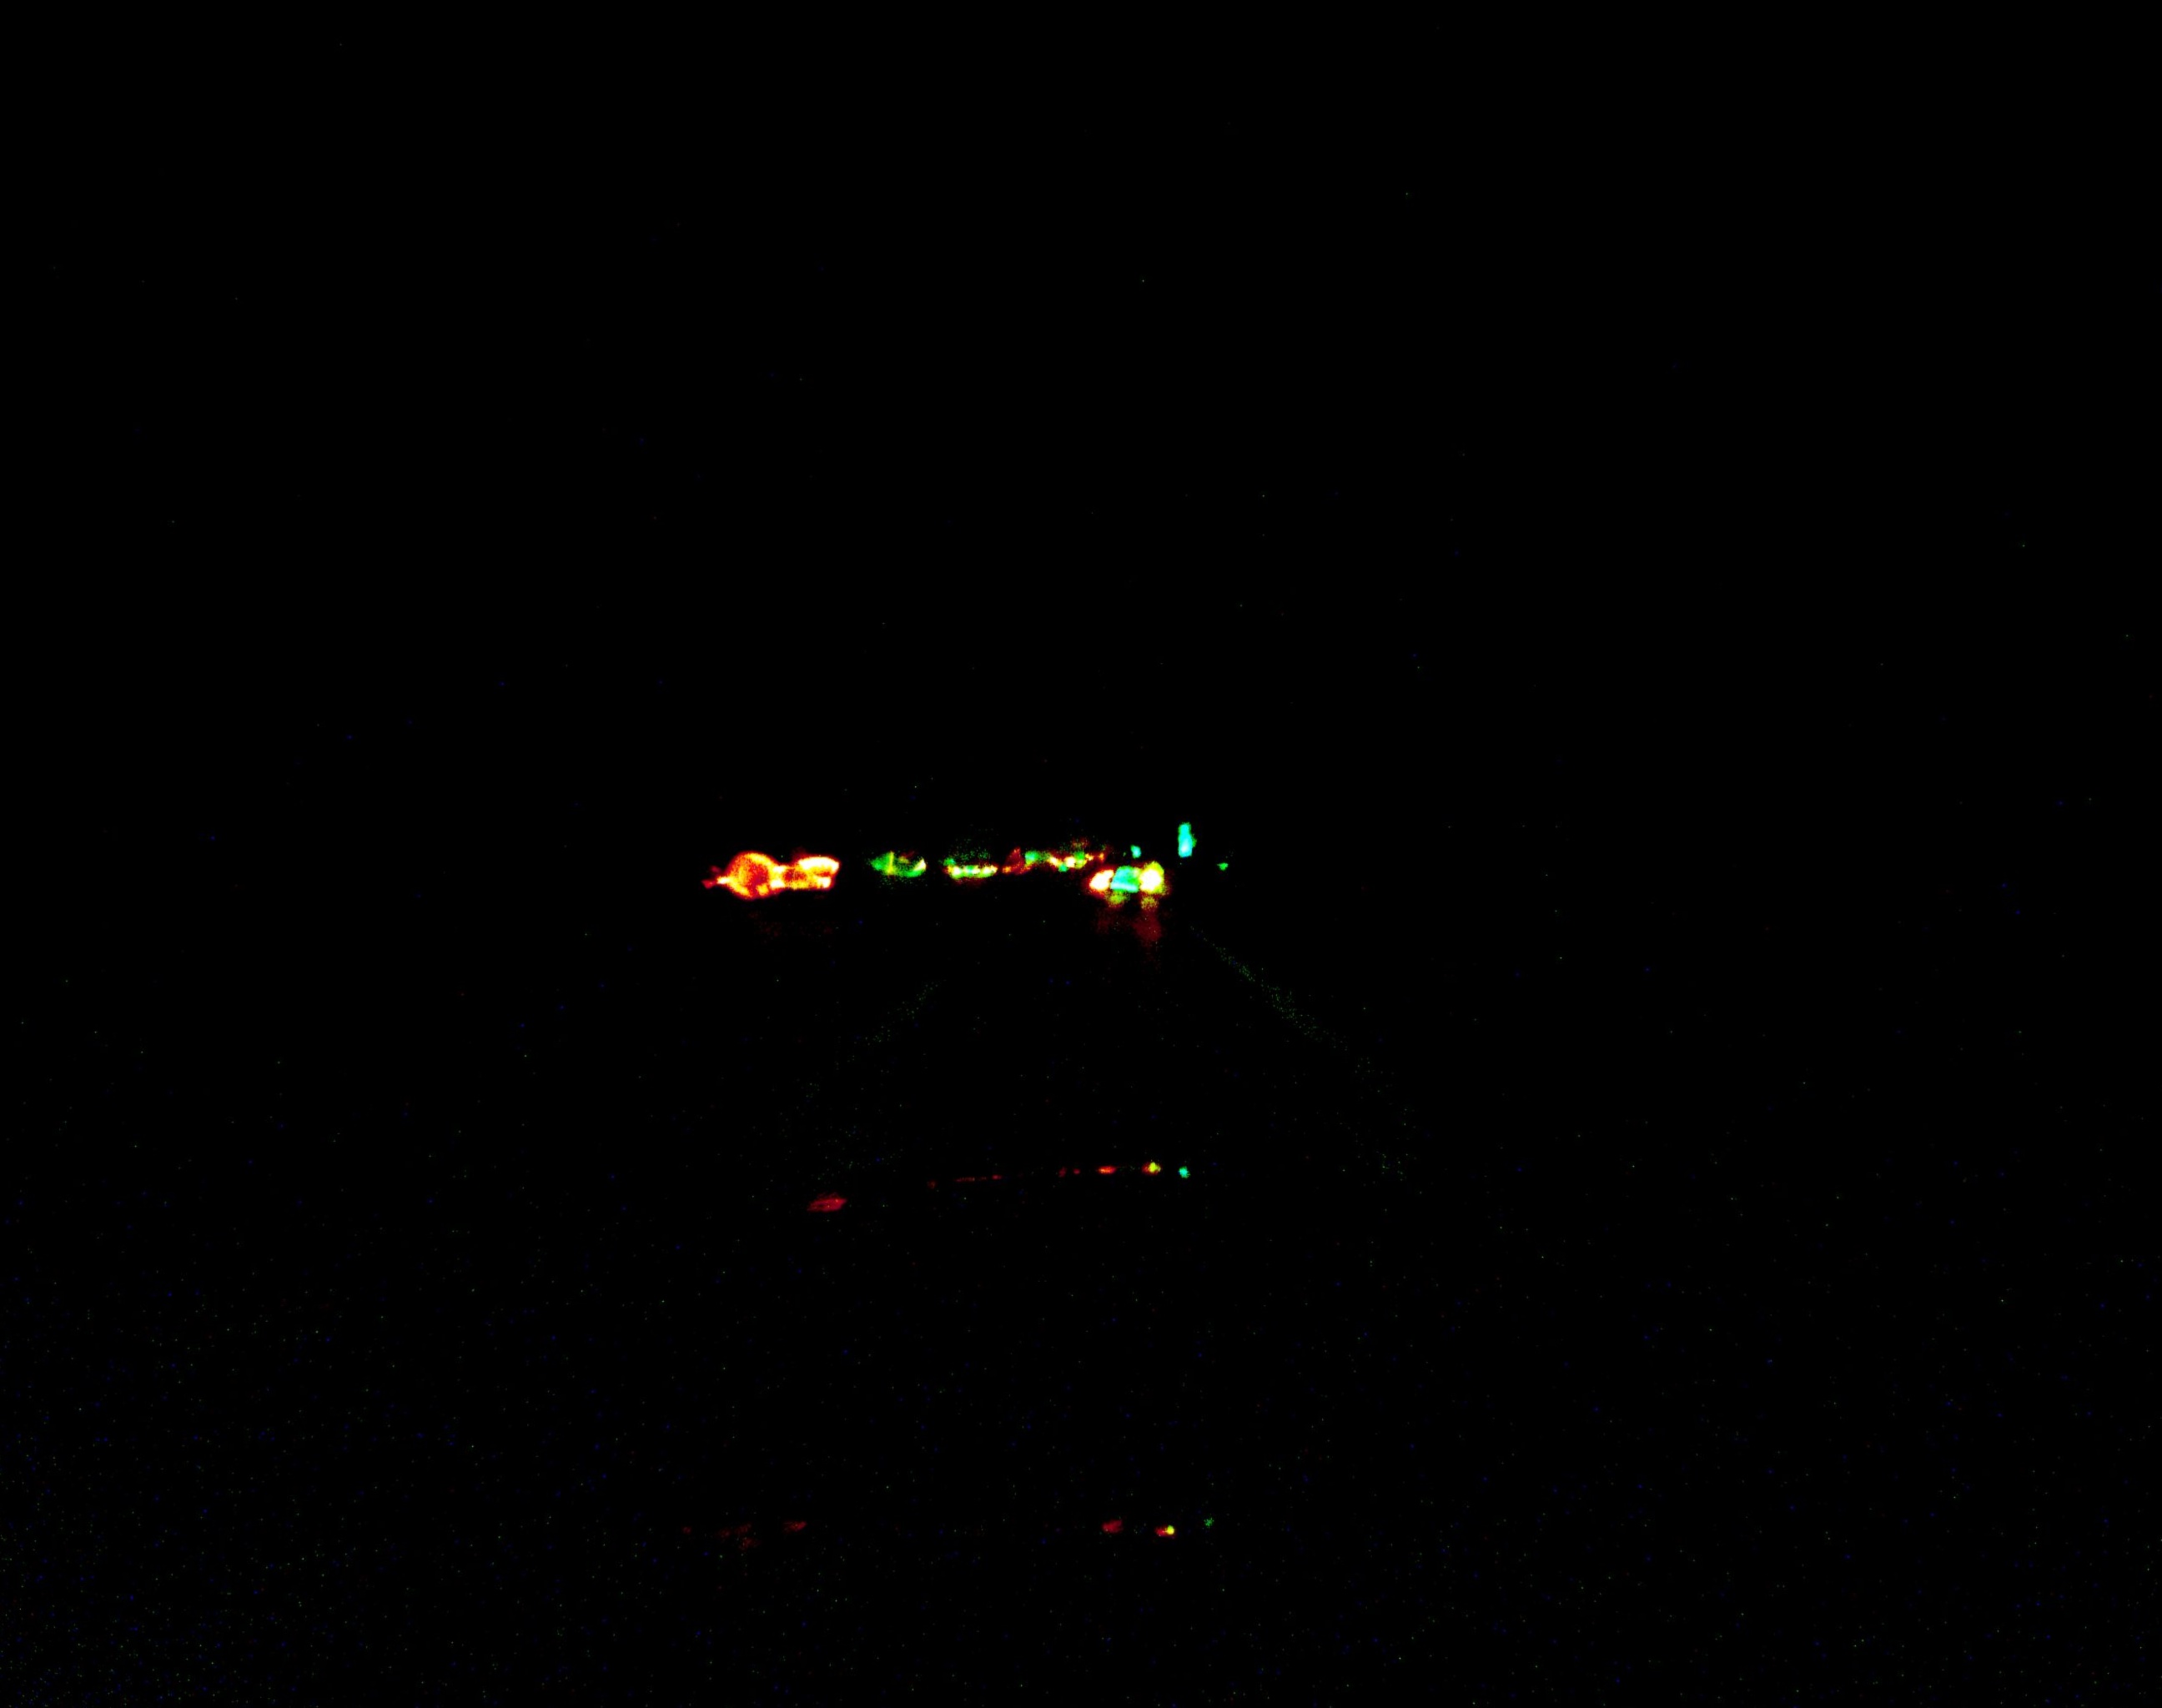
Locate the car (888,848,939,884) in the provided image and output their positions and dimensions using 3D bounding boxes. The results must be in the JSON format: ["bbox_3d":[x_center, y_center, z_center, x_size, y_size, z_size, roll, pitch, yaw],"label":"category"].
[{"bbox_3d":[-10.432,0.725,51.134,2.117,2.104,5.627,-1,0,-1],"label":"car"}]

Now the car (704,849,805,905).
[{"bbox_3d":[-10.759,0.687,27.133,1.760,1.689,3.998,-1,1,-1],"label":"car"}]

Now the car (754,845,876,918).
[{"bbox_3d":[-7.054,0.680,22.141,2.034,1.761,4.511,0,0,-3],"label":"car"}]

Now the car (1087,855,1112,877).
[{"bbox_3d":[1.527,0.923,66.102,1.986,1.704,4.461,0,0,2],"label":"car"}]

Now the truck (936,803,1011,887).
[{"bbox_3d":[-6.521,-0.516,51.126,3.646,4.737,9.845,0,0,-2],"label":"truck"}]

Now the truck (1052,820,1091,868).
[{"bbox_3d":[-1.058,-1.095,92.853,4.149,5.215,9.951,0,0,0],"label":"truck"}]

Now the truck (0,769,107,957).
[{"bbox_3d":[-27.407,0.212,12.611,3.194,4.460,17.498,0,0,2],"label":"truck"}]

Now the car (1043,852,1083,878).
[{"bbox_3d":[-1.393,0.846,66.576,2.821,2.013,5.514,0,0,3],"label":"car"}]

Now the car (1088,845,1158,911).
[{"bbox_3d":[1.219,0.650,23.889,1.870,1.762,4.003,0,0,3],"label":"car"}]

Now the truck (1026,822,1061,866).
[{"bbox_3d":[-4.819,-1.258,106.190,4.242,5.444,10.878,0,0,-1],"label":"truck"}]
